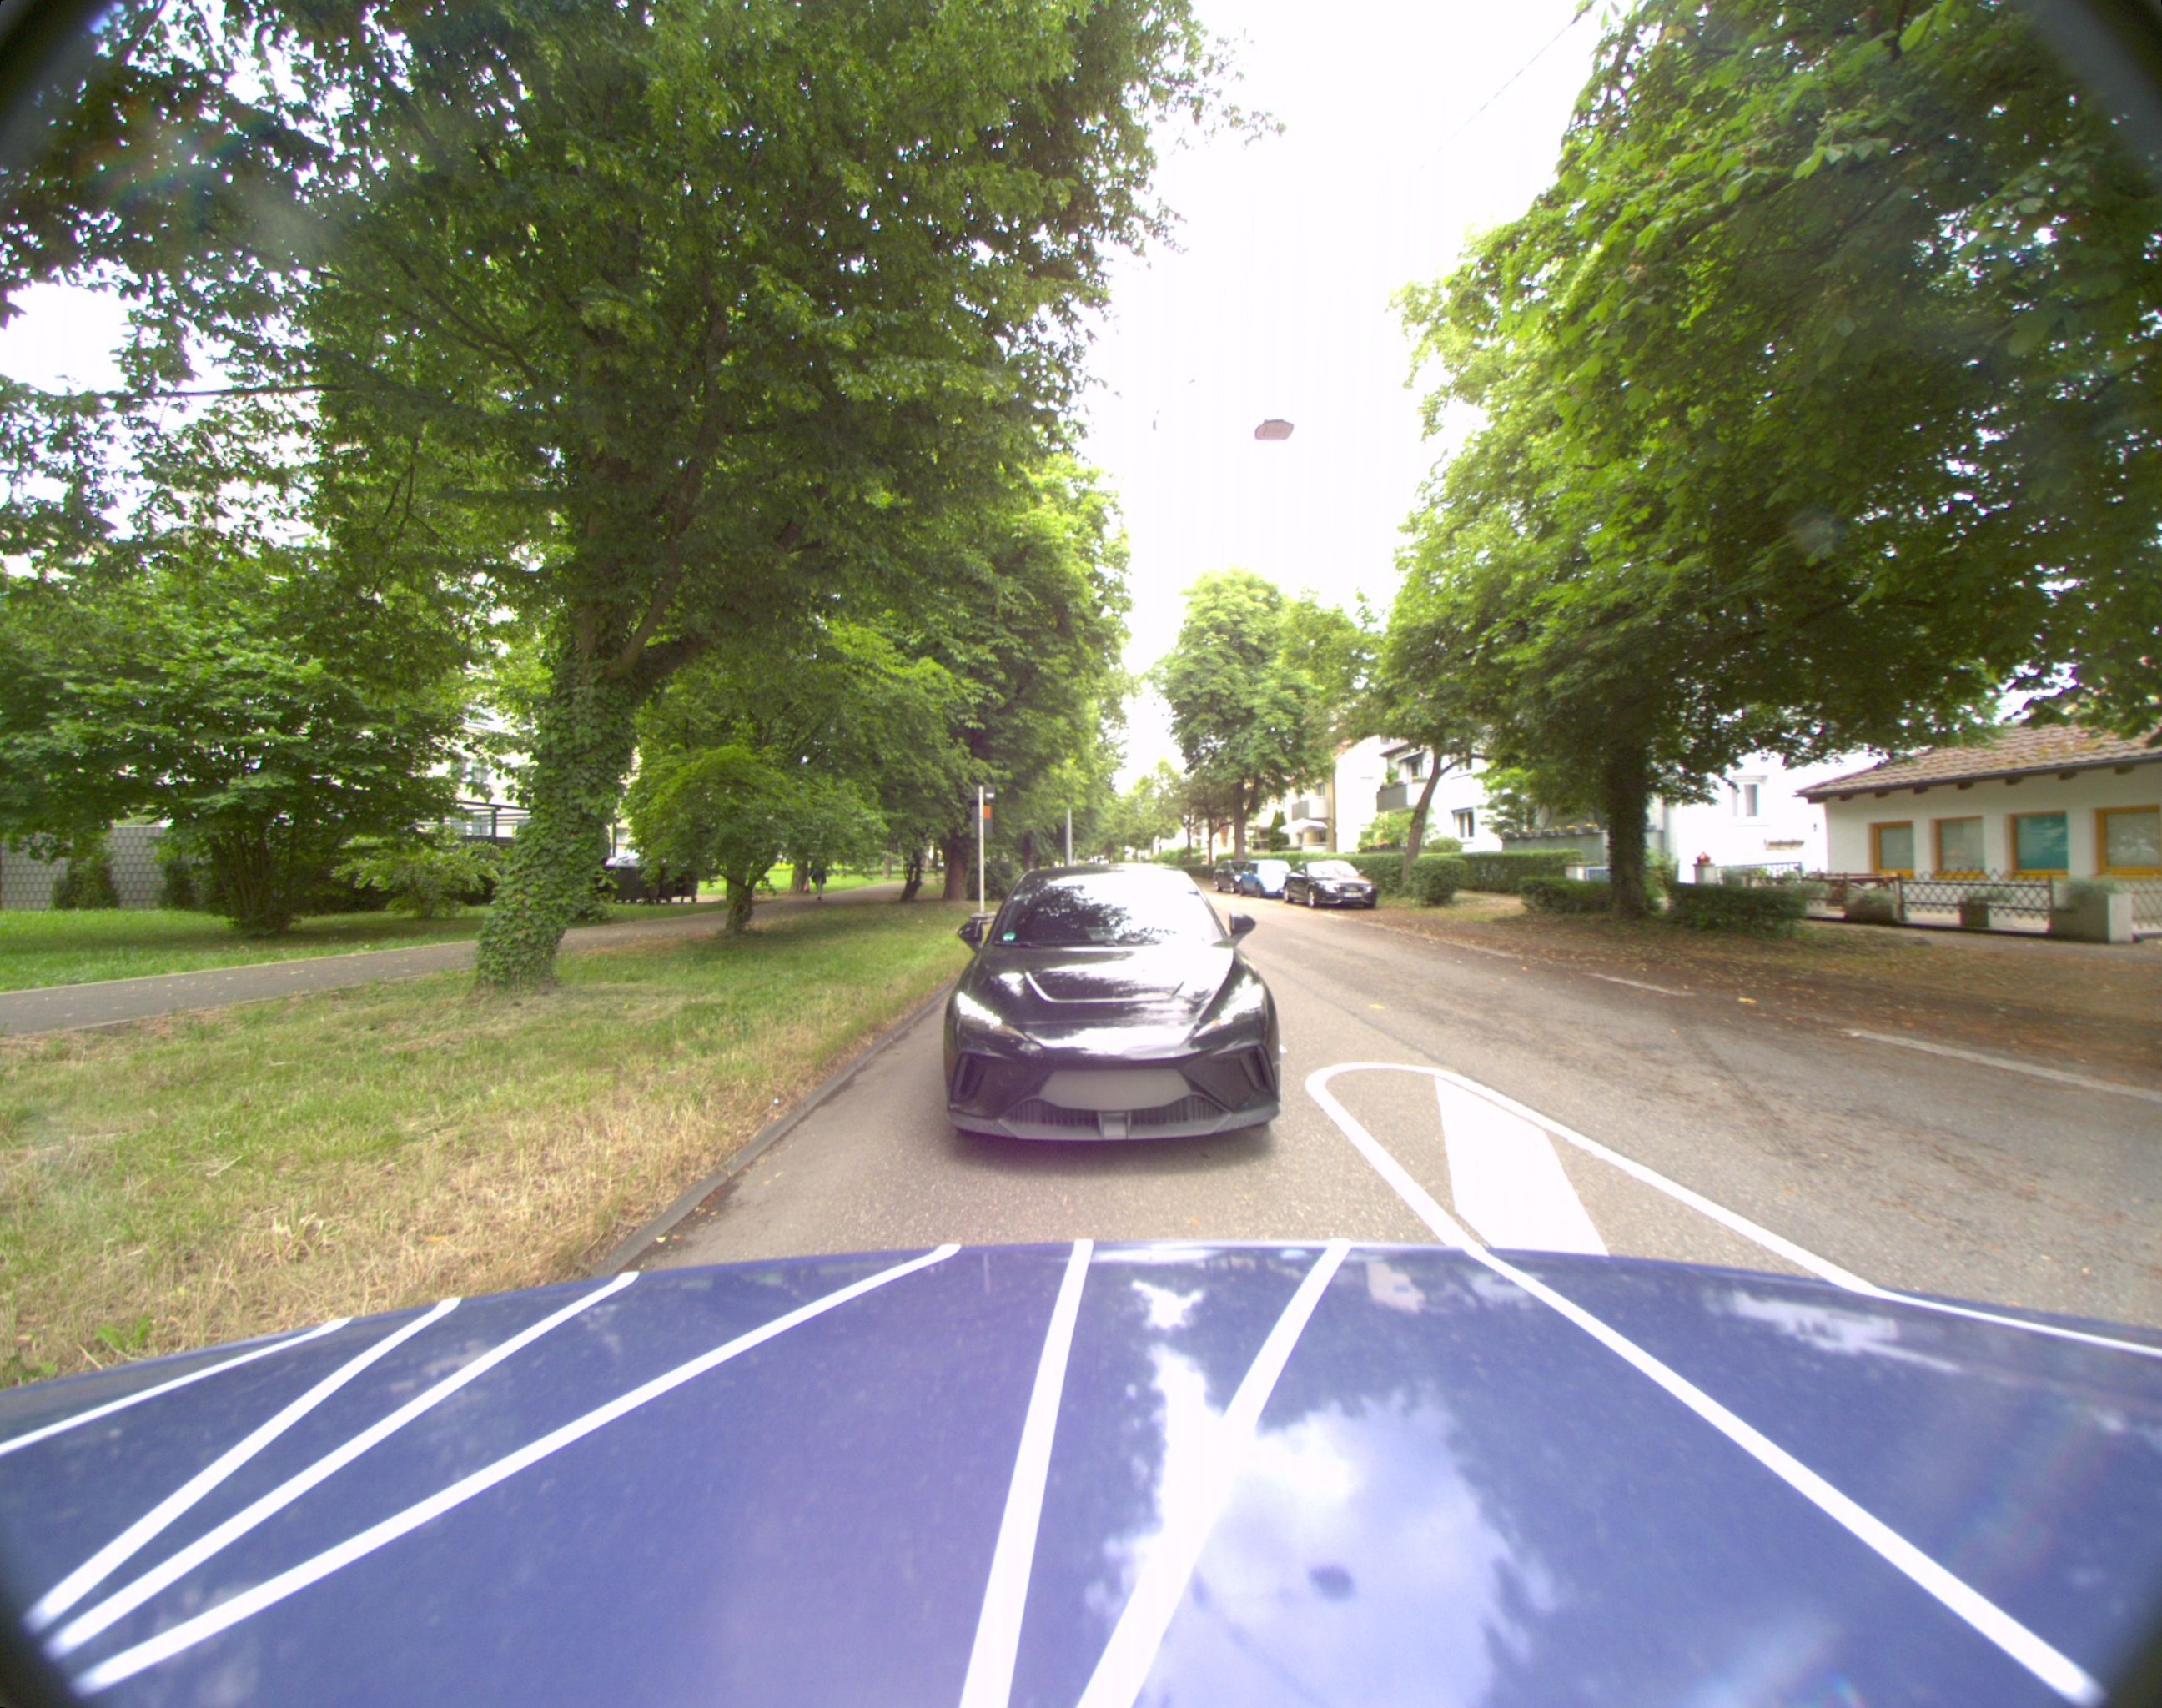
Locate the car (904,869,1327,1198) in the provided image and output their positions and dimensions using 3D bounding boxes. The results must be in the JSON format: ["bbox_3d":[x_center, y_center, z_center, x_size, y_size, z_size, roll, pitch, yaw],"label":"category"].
[{"bbox_3d":[0.184,0.897,5.903,1.998,1.491,4.615,0,0,1],"label":"car"}]

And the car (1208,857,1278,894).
[{"bbox_3d":[7.072,0.889,33.657,1.889,1.524,4.565,0,0,-3],"label":"car"}]

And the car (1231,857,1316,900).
[{"bbox_3d":[7.203,0.886,28.903,1.889,1.492,4.565,0,0,-3],"label":"car"}]

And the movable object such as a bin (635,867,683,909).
[{"bbox_3d":[-13.244,1.052,23.880,1.026,1.296,0.960,0,0,-8],"label":"movable object such as a bin"}]

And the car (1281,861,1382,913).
[{"bbox_3d":[7.402,0.921,22.882,1.735,1.394,4.172,0,0,1],"label":"car"}]

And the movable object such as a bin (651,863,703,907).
[{"bbox_3d":[-13.247,0.992,24.974,1.194,1.405,1.110,0,0,-8],"label":"movable object such as a bin"}]

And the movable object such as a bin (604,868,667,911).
[{"bbox_3d":[-13.259,1.033,22.681,1.194,1.213,1.348,0,0,-8],"label":"movable object such as a bin"}]

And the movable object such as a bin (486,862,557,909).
[{"bbox_3d":[-16.517,0.901,22.486,1.194,1.334,1.348,0,0,-8],"label":"movable object such as a bin"}]

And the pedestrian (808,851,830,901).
[{"bbox_3d":[-9.267,0.763,26.913,0.565,1.730,0.570,1,0,0],"label":"pedestrian"}]

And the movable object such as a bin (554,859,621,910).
[{"bbox_3d":[-14.576,0.877,22.489,1.194,1.448,1.348,0,0,-8],"label":"movable object such as a bin"}]
